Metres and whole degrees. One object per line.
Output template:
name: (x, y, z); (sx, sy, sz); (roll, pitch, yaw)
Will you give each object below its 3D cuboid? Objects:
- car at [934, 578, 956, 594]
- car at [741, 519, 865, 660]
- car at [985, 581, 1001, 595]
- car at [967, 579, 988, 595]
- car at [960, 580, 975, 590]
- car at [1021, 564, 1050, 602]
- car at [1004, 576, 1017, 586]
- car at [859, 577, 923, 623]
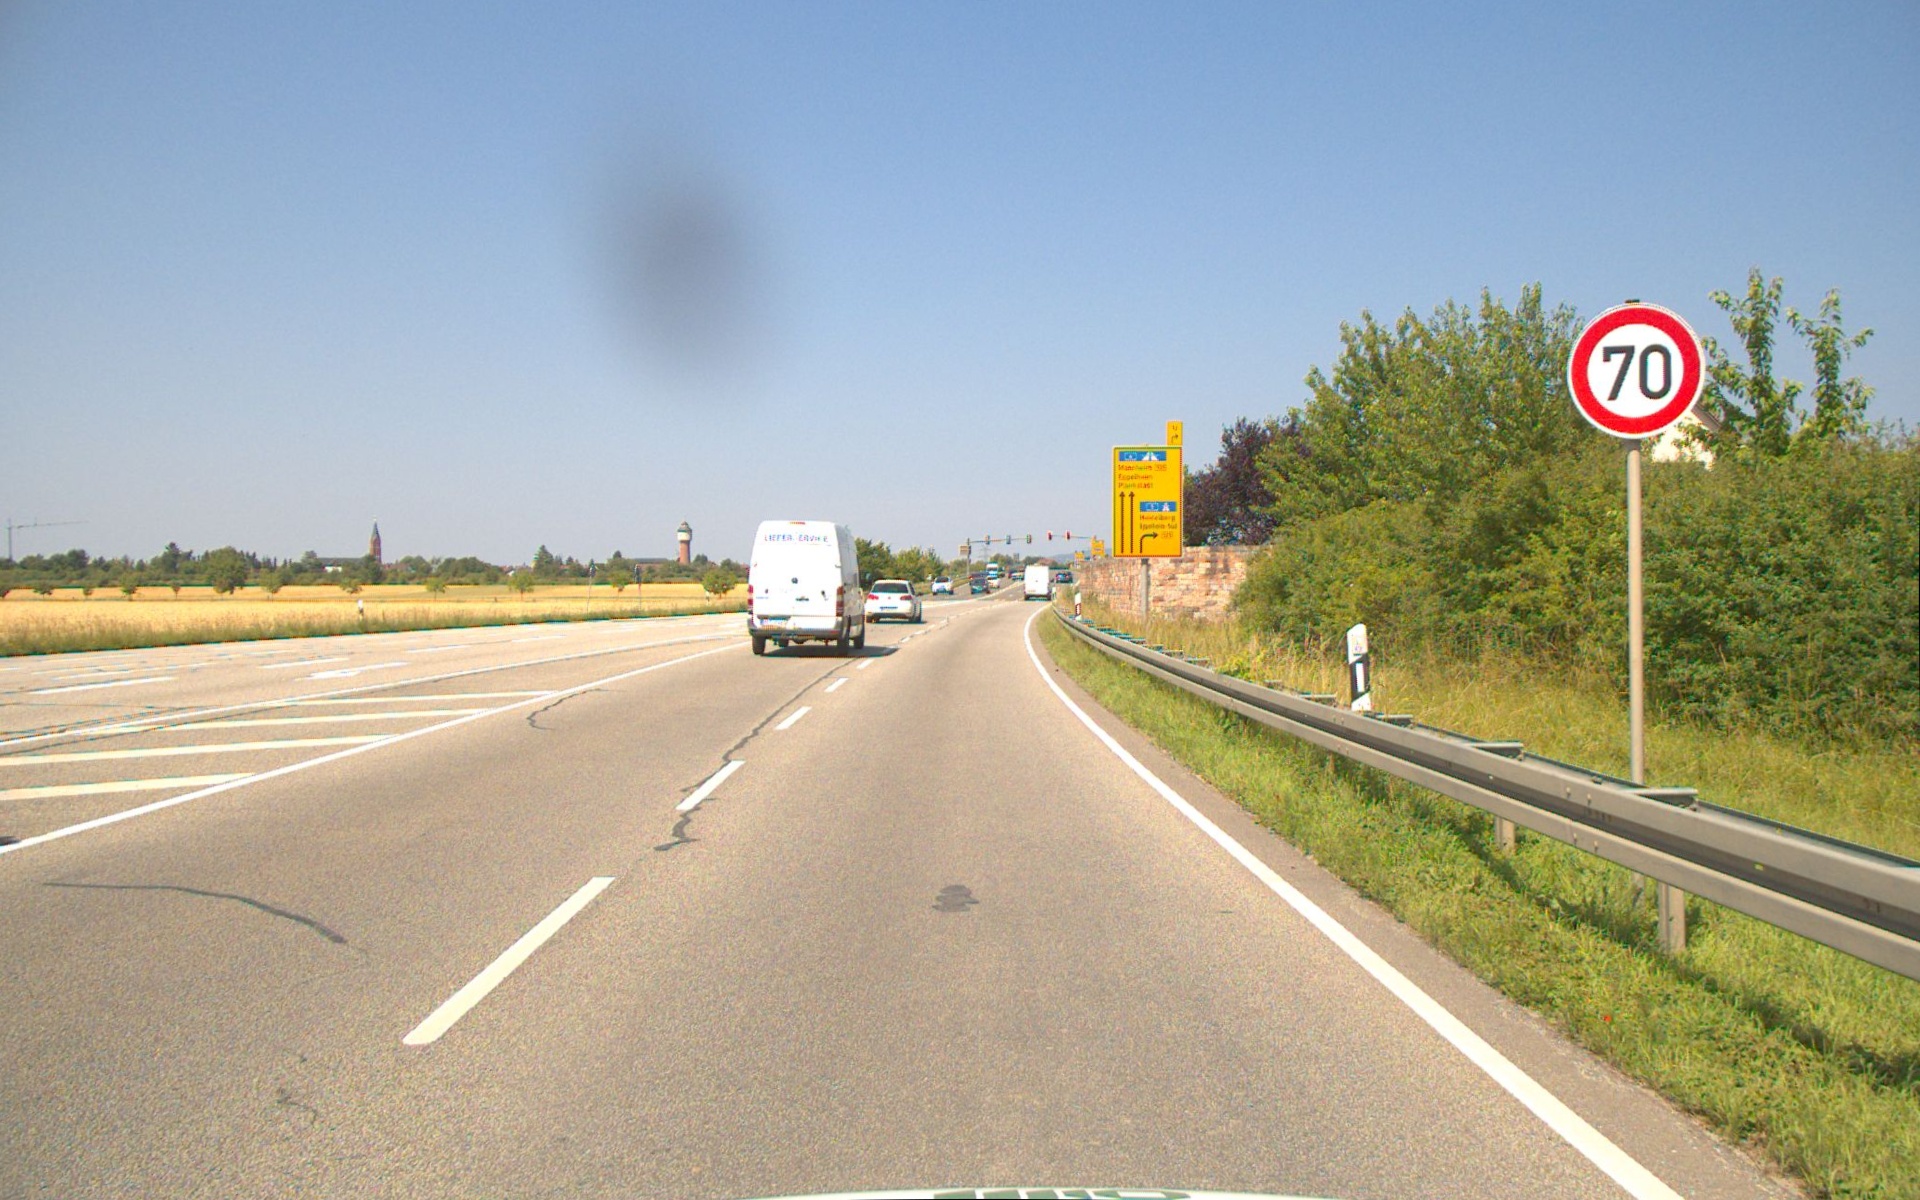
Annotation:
car: (-1.411, -1.345, 158.117); (1.712, 1.467, 4.084); (0, 0, 4)
car: (-3.195, -0.235, 34.837); (1.997, 2.665, 5.741); (1, 1, 0)
car: (3.873, -1.410, 193.012); (1.712, 1.467, 4.084); (1, 0, 4)
car: (1.682, -1.245, 157.254); (1.712, 1.467, 4.084); (0, 0, 4)
car: (1.028, -2.073, 224.958); (1.831, 1.277, 4.283); (0, 1, 3)
car: (5.698, -1.248, 124.607); (1.951, 2.742, 4.972); (2, -1, 4)
car: (7.838, -2.982, 257.219); (1.818, 1.448, 4.003); (-1, 1, 6)
car: (-2.386, -0.027, 58.345); (1.761, 1.534, 4.198); (0, 1, 4)
